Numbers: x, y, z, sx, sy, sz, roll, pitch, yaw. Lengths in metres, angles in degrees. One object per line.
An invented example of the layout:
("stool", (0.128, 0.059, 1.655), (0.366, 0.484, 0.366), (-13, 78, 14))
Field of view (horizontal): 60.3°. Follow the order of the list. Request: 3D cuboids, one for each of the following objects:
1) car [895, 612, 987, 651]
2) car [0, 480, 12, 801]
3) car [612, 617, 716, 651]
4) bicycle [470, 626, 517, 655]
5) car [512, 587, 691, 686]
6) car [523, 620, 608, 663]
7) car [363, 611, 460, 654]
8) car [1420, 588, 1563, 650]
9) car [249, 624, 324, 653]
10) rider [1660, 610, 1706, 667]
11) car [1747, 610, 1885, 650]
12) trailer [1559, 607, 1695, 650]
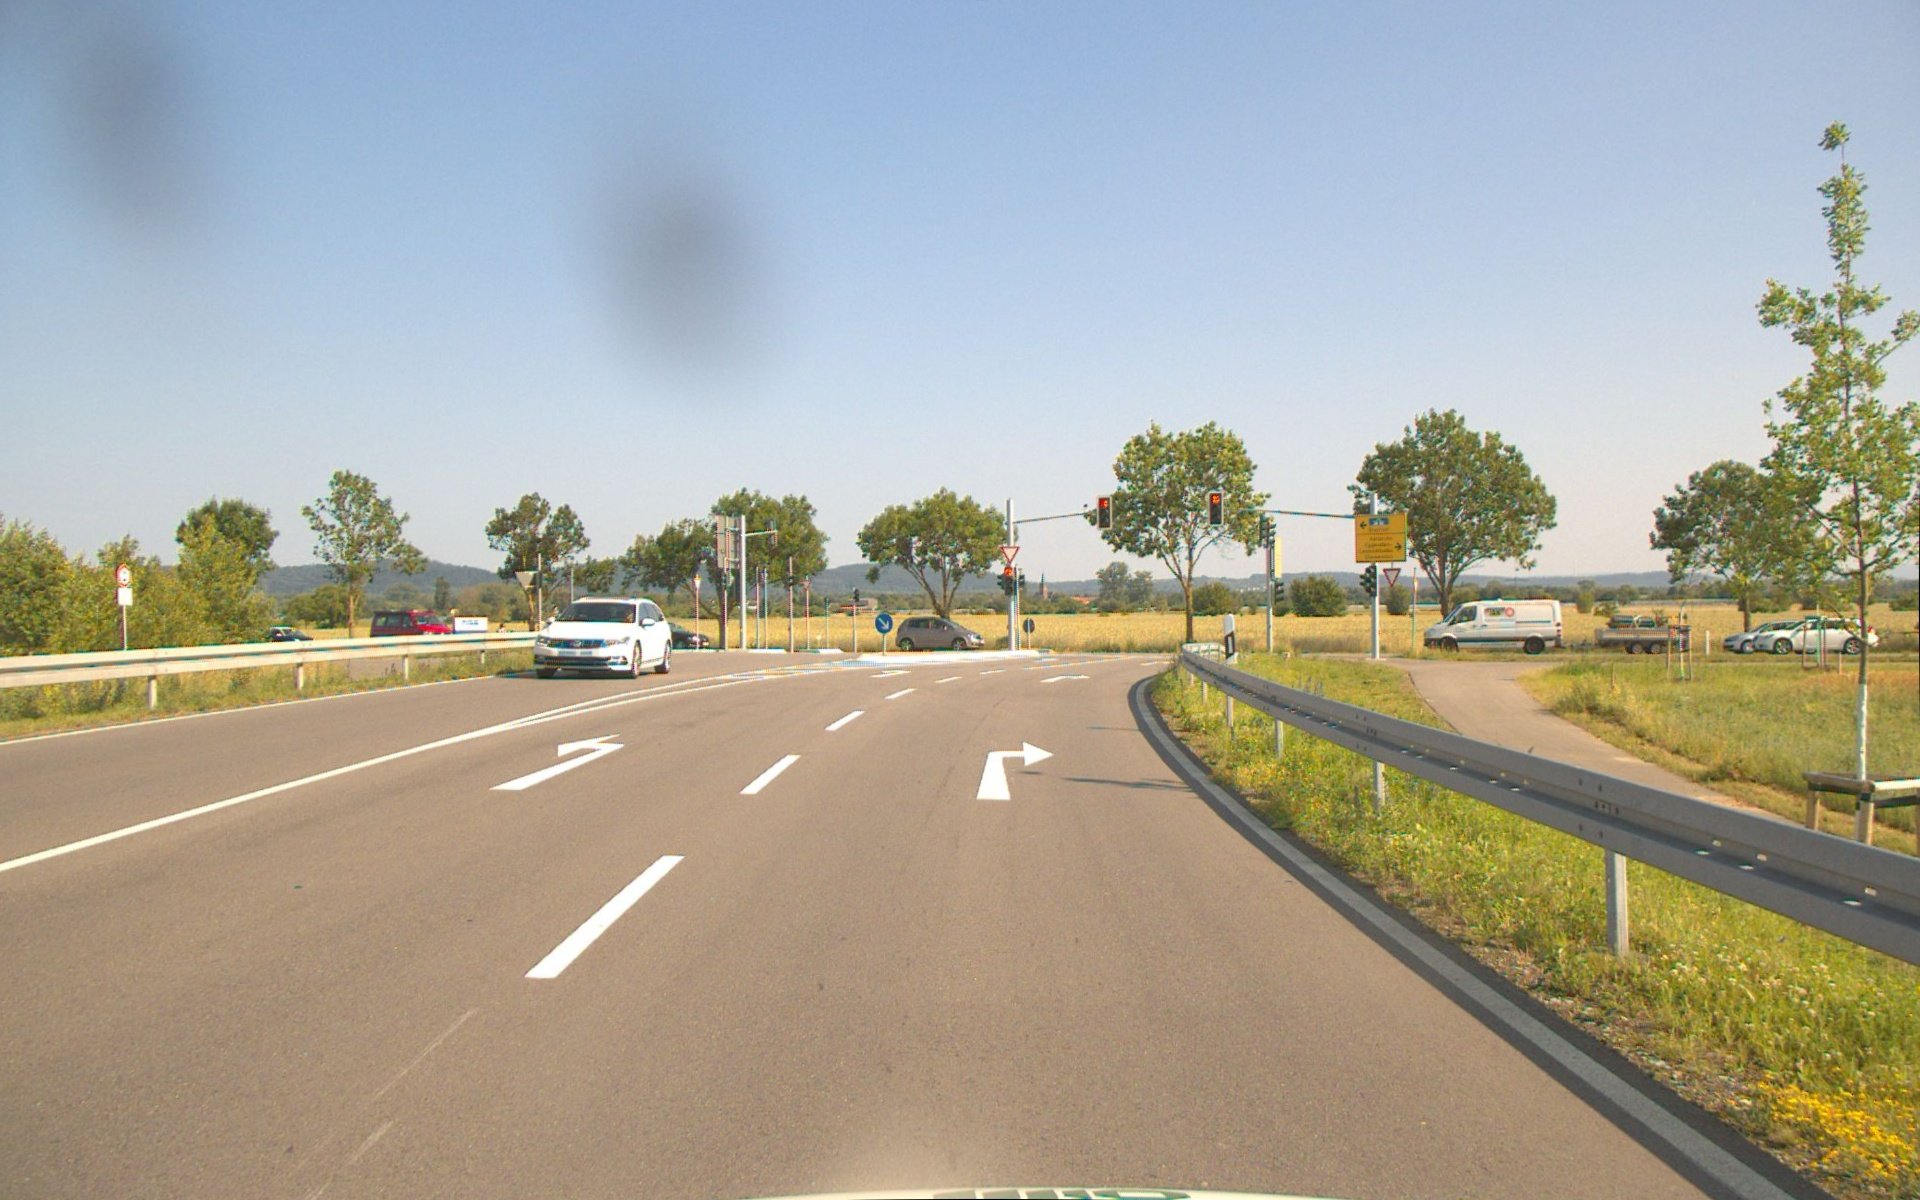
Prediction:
("car", (-0.854, 1.427, 75.467), (3.871, 1.697, 1.765), (1, -1, 15))
("car", (-7.111, 0.326, 8.047), (2.072, 2.048, 5.154), (1, 2, -1))
("car", (-14.336, 1.646, 80.165), (4.575, 1.545, 1.923), (-1, 1, 19))
("bicycle", (-24.212, 2.105, 85.837), (2.441, 1.421, 0.731), (1, -2, 25))
("car", (-6.652, 0.620, 31.352), (2.071, 1.519, 5.155), (2, 2, 2))
("car", (-17.270, 1.858, 72.240), (1.681, 1.703, 4.793), (3, -5, -39))
("car", (-26.799, 1.589, 80.760), (4.821, 1.974, 1.835), (1, -1, 32))
("car", (23.161, 0.842, 72.331), (5.830, 2.536, 2.001), (1, -1, 15))
("car", (-37.217, 2.137, 91.349), (3.651, 1.482, 1.728), (-1, 0, 22))
("rider", (21.853, 1.165, 49.990), (0.811, 1.671, 0.980), (-1, 0, -32))
("car", (35.812, 1.267, 69.334), (4.764, 1.536, 2.001), (1, -1, 12))
("trailer", (28.530, 1.213, 70.898), (5.149, 1.784, 1.955), (-1, -1, 15))
